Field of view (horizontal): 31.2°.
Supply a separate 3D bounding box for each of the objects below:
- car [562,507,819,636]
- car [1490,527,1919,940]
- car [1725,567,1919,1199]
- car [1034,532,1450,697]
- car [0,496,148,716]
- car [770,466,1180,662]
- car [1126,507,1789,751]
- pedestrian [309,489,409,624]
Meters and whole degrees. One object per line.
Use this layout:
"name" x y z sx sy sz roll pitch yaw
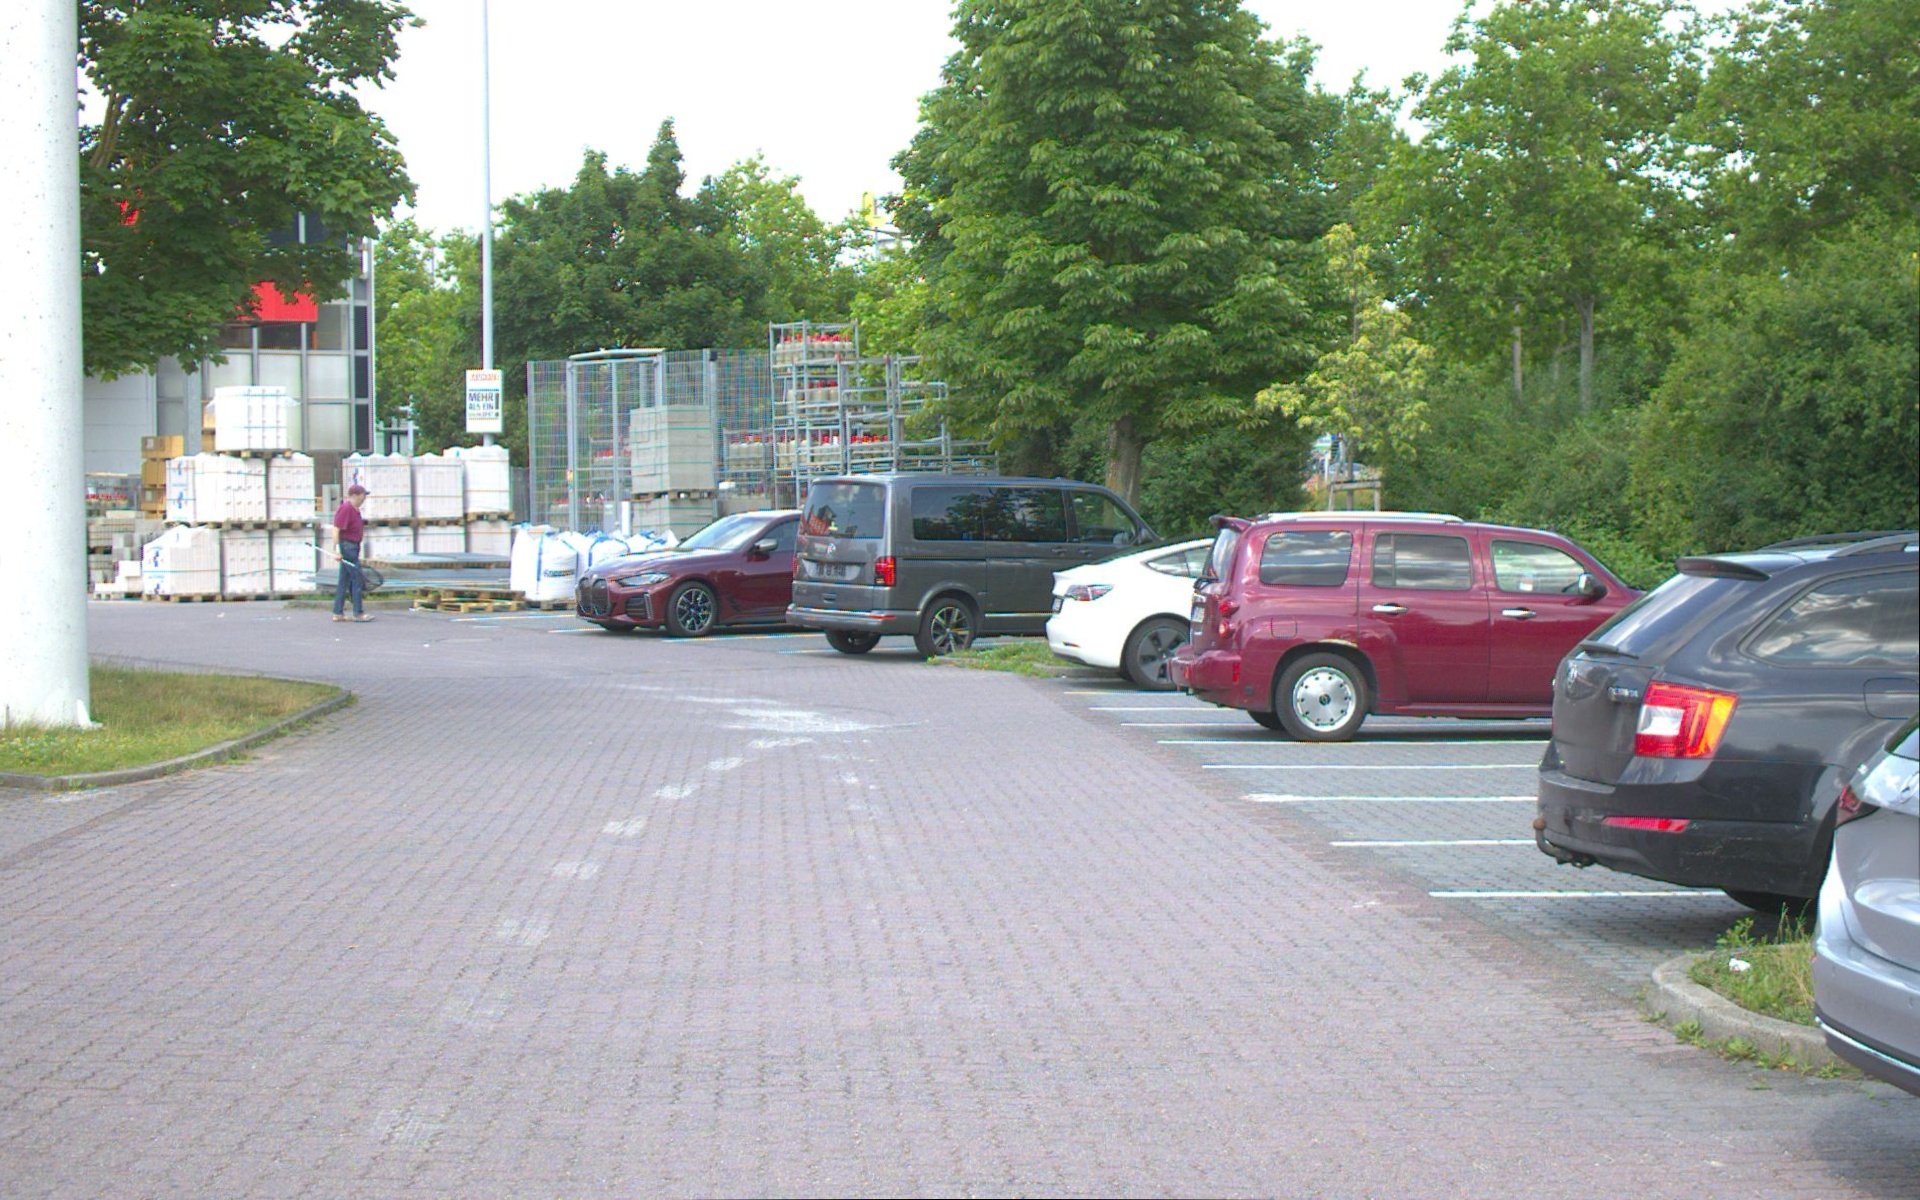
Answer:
"car" -3.188 -0.320 40.746 2.681 1.427 1.355 2 -1 -30
"car" 4.096 0.474 12.509 3.986 1.376 1.699 1 -1 -5
"car" 4.230 0.667 7.572 4.638 1.499 1.785 -1 2 -4
"car" 2.569 0.126 31.855 3.632 1.463 1.634 0 0 -3
"car" -8.023 0.014 27.149 1.993 1.612 4.000 -2 2 -31
"car" 0.182 -0.370 37.296 4.044 2.012 1.947 0 0 -33
"car" 3.462 0.164 24.445 4.305 1.590 2.000 -1 2 -5
"pedestrian" -7.497 -0.546 42.875 0.920 1.660 0.784 0 2 25
